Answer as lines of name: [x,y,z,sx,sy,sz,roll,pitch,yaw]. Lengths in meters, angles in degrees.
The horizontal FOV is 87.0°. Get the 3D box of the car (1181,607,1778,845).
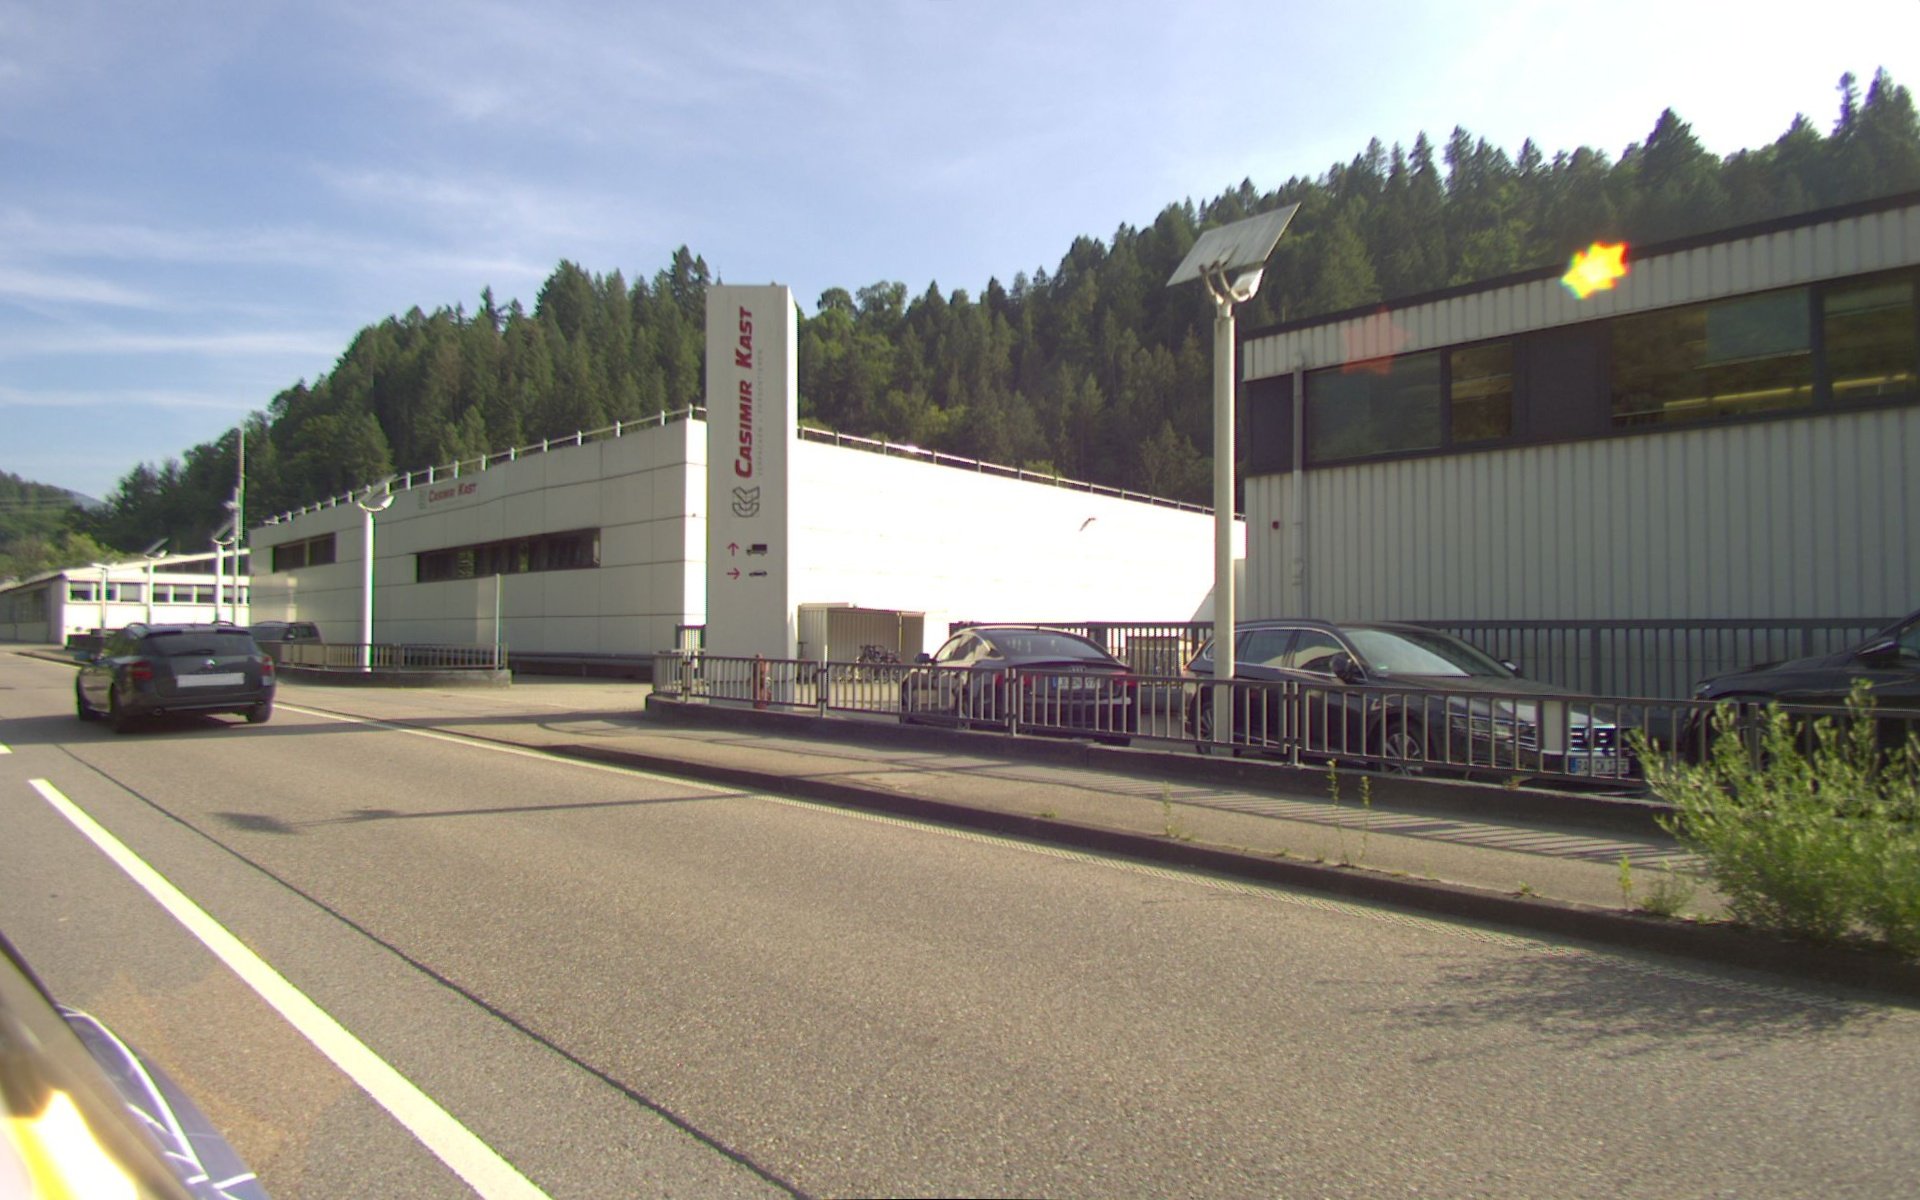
car: [3.875,0.852,8.719,1.683,1.450,4.749,1,-2,-18]

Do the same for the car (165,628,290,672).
car: [-27.746,1.851,38.527,1.859,1.506,4.495,0,-1,-6]

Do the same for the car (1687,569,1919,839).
car: [7.413,0.643,6.077,1.966,1.755,4.703,0,-3,-15]

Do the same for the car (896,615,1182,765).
car: [0.641,0.916,11.904,1.683,1.386,4.749,1,-2,-18]

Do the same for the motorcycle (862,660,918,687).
motorcycle: [-2.179,2.253,31.296,1.977,0.766,0.486,-2,-3,43]

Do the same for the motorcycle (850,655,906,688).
motorcycle: [-2.511,2.149,30.791,1.927,0.939,0.508,-2,-3,43]

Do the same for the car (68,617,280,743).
car: [-11.327,1.040,14.477,4.245,1.496,1.659,-2,0,42]

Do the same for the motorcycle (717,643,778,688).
motorcycle: [-5.862,1.785,27.839,2.088,1.161,0.506,-2,-4,43]

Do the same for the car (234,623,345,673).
car: [-24.900,1.745,37.761,1.754,1.721,4.116,0,-1,-6]

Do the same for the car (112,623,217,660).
car: [-36.617,1.884,46.734,1.859,1.604,4.181,0,-1,-6]
